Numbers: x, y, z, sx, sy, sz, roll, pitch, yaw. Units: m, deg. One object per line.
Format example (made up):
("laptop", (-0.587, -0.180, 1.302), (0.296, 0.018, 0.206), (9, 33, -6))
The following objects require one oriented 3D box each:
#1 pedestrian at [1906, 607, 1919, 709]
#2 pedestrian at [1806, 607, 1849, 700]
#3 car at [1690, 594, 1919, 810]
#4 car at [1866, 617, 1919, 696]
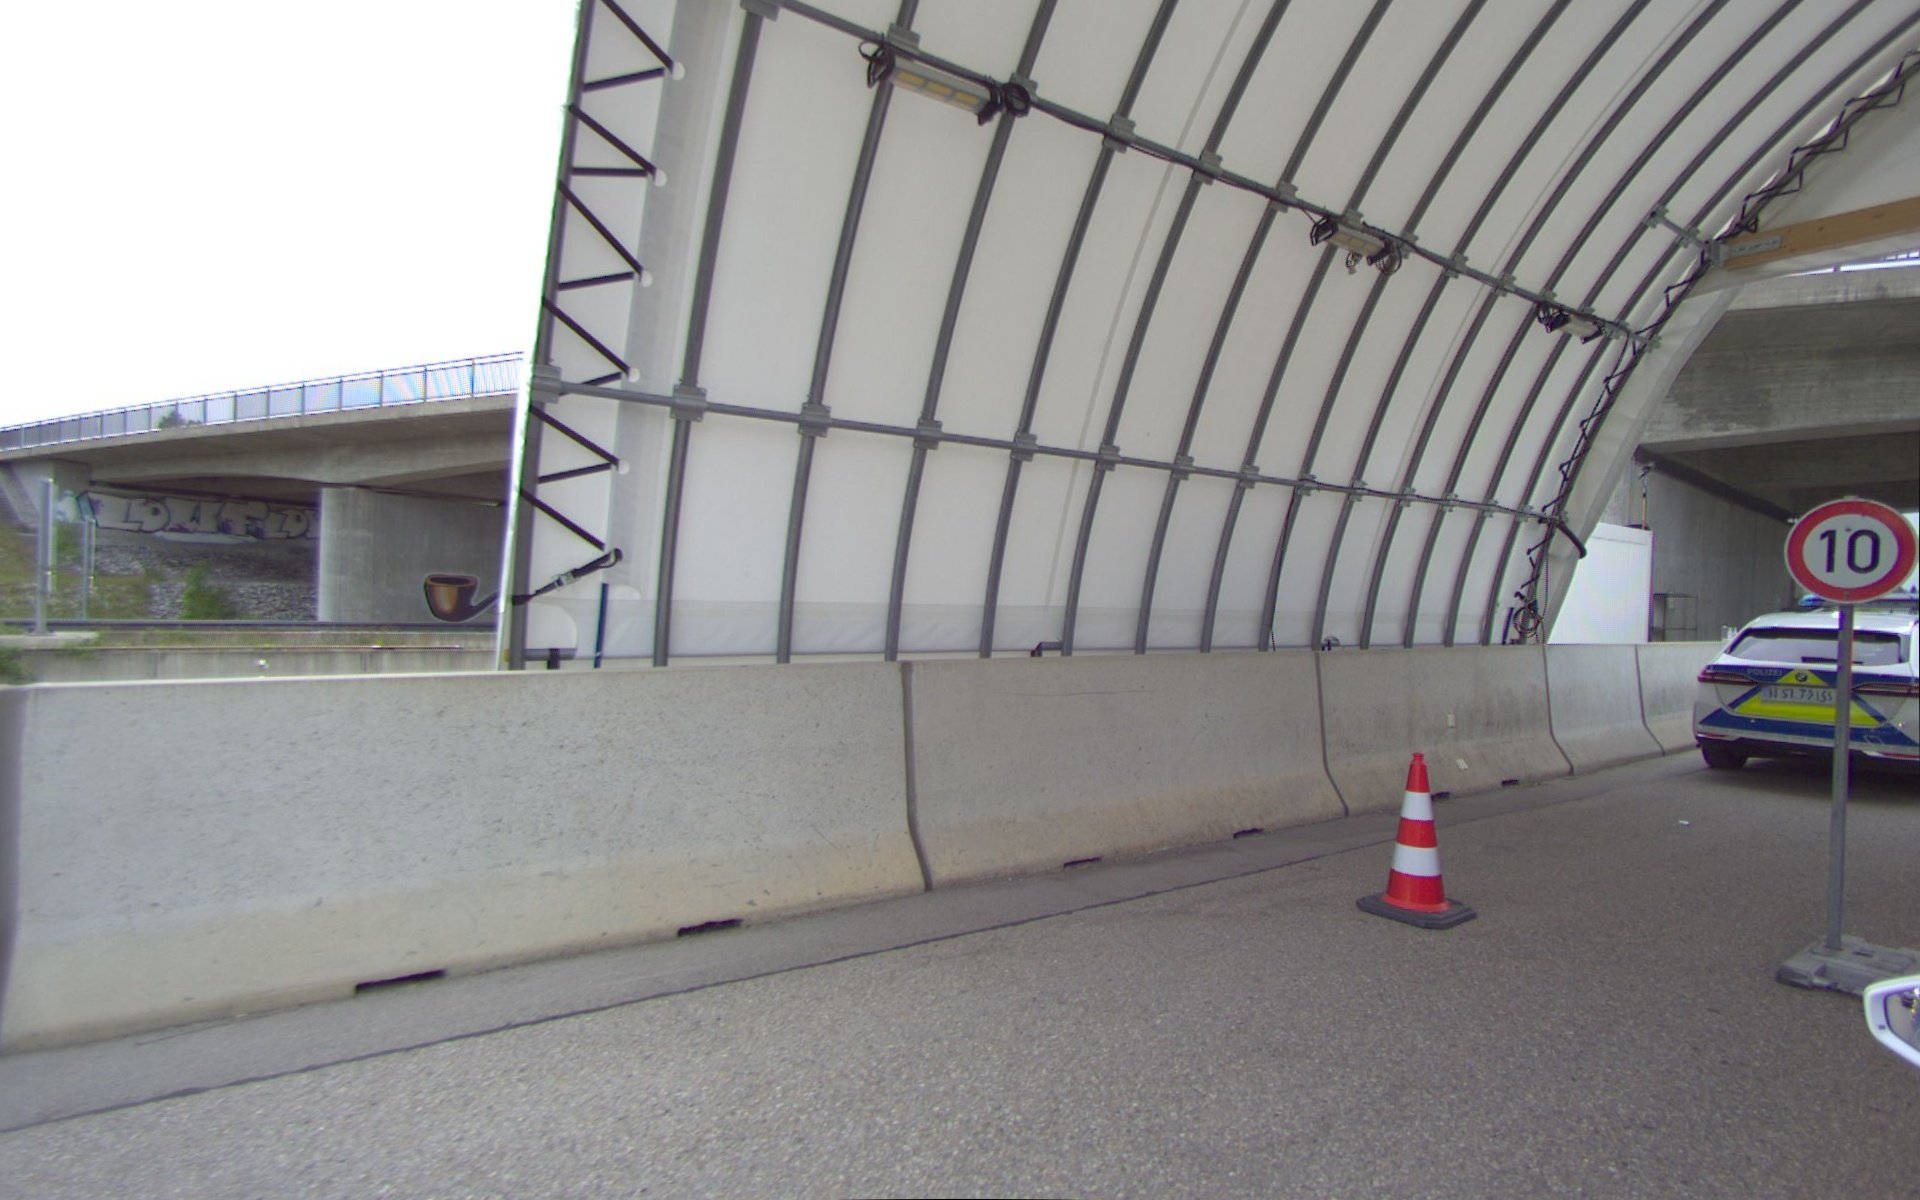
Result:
("pedestrian", (19.428, 1.155, 19.947), (0.692, 2.040, 0.689), (1, -1, -20))
("pedestrian", (19.297, 1.173, 22.338), (0.650, 2.040, 0.619), (1, -1, -39))
("car", (8.643, 0.841, 9.433), (3.964, 1.668, 1.864), (2, -2, -38))
("car", (25.924, 1.455, 25.005), (1.810, 2.040, 4.807), (1, -1, -15))
